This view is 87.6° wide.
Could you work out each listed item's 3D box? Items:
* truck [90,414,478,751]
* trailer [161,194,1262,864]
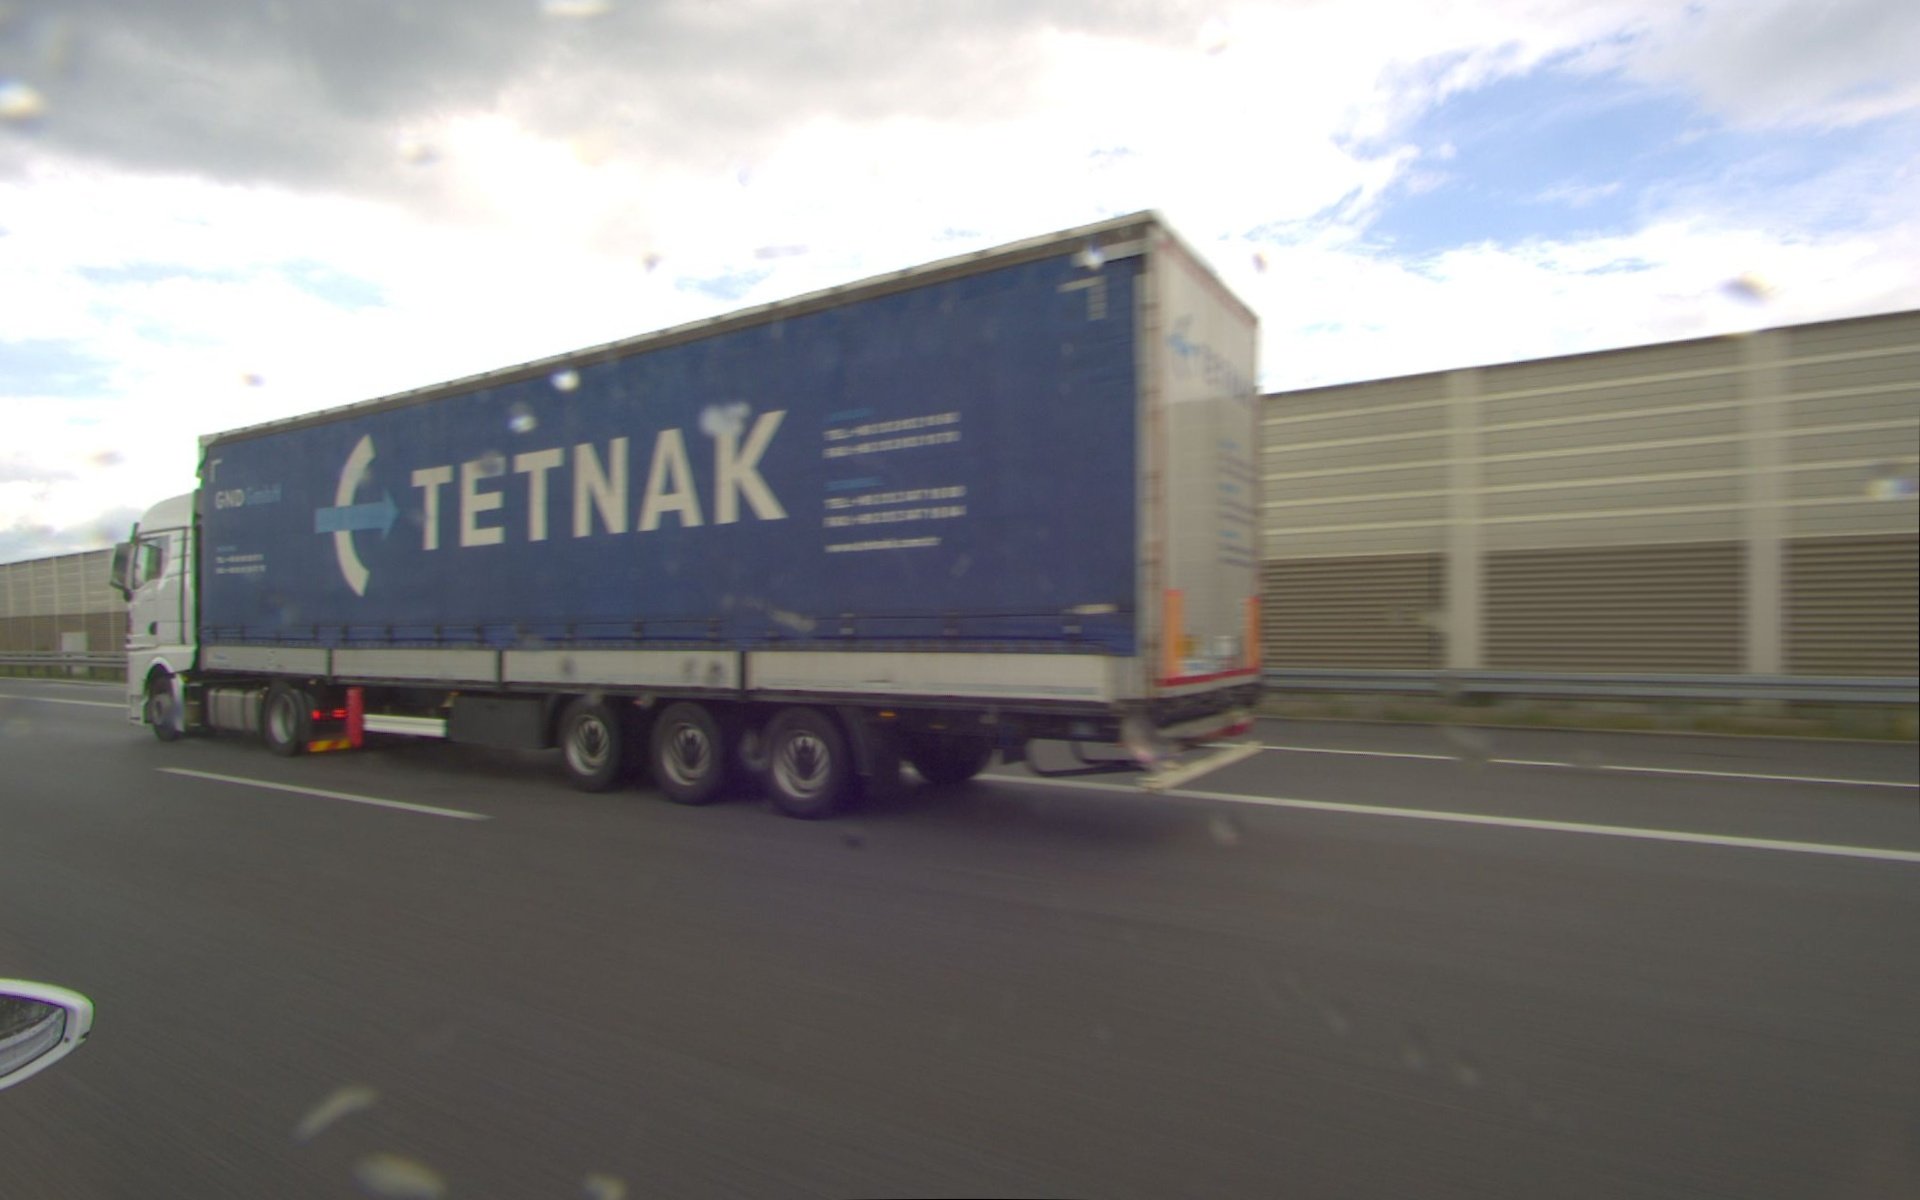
[{"bbox_3d":[-10.068,-0.143,14.807,5.644,4.087,2.740,-1,-1,32],"label":"truck"},{"bbox_3d":[-4.199,-0.288,11.085,14.246,4.084,2.756,-1,-1,32],"label":"trailer"}]
